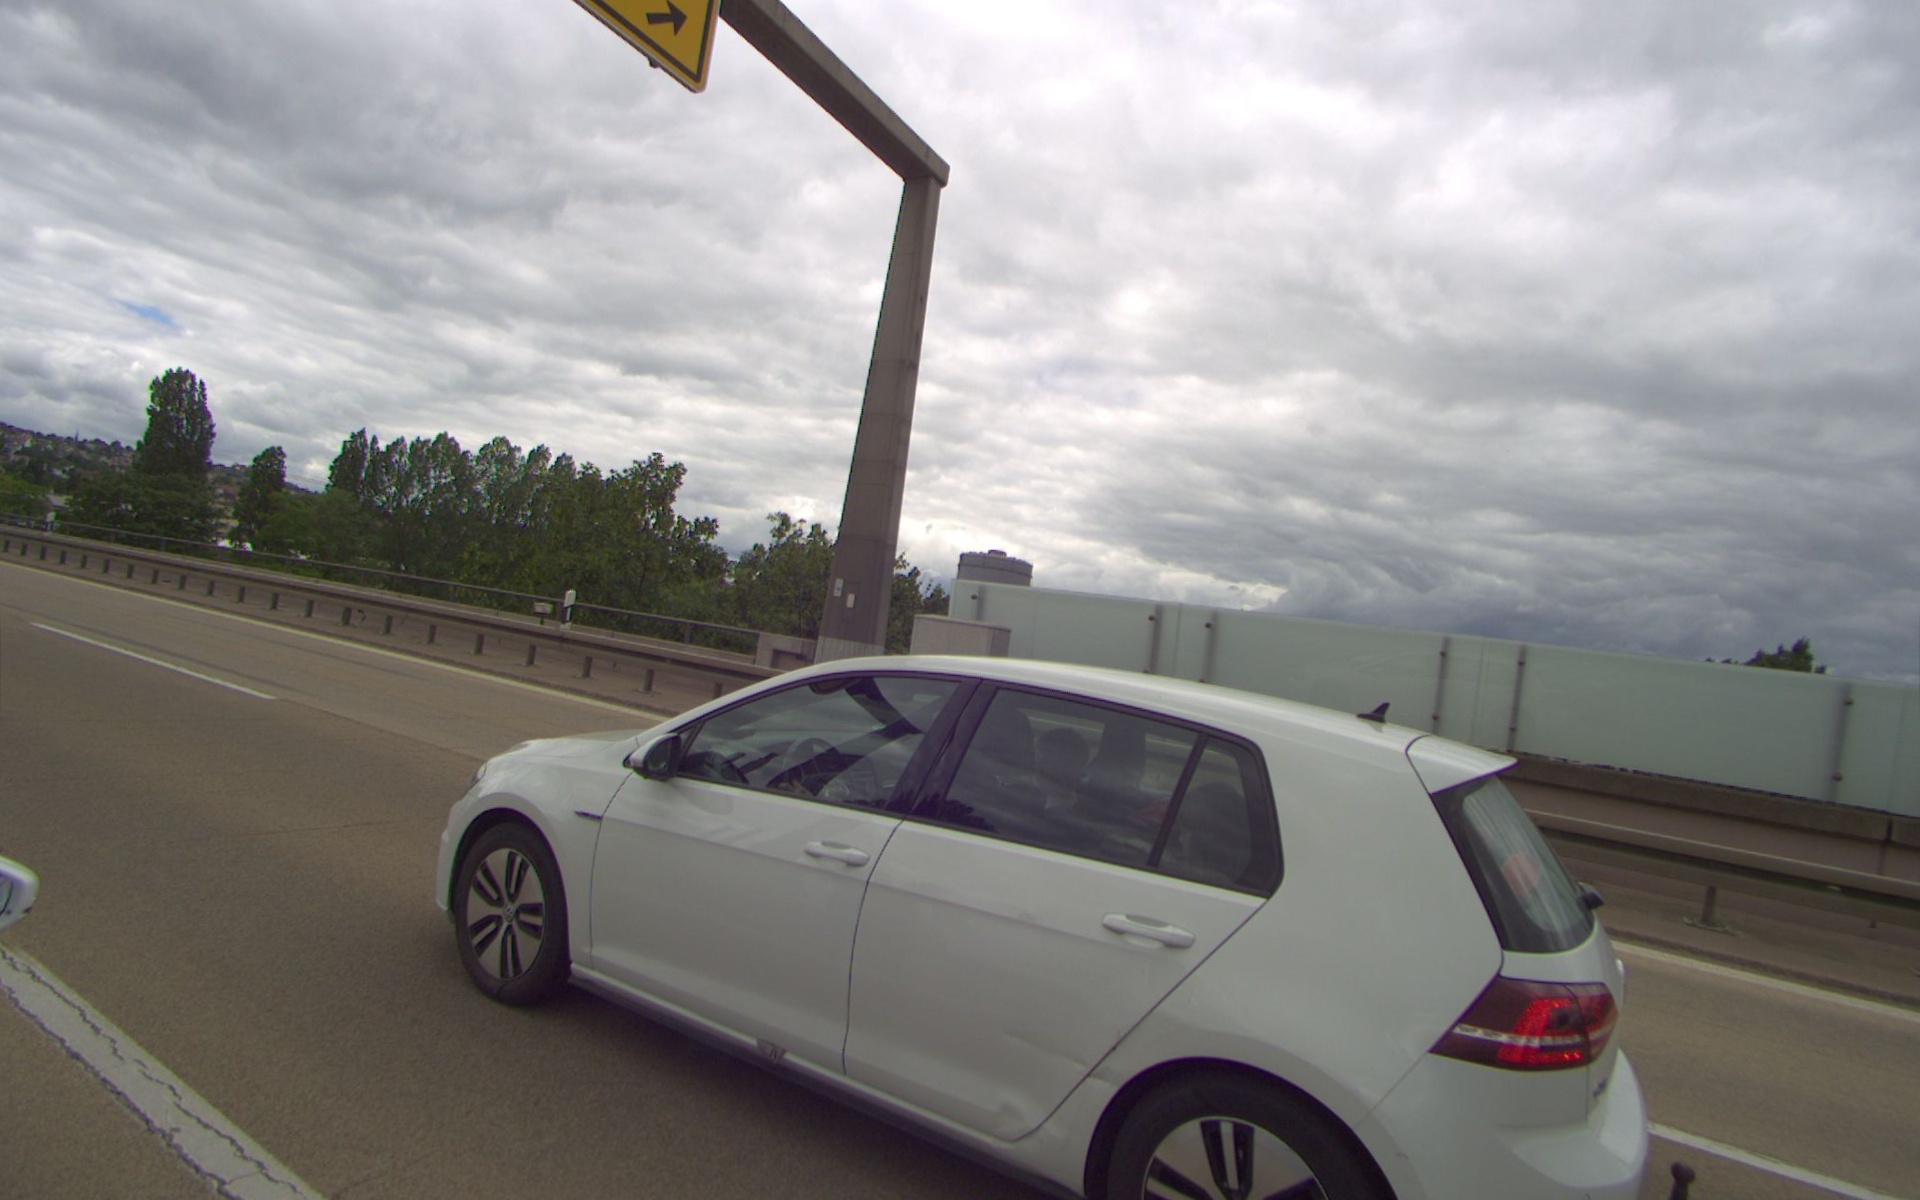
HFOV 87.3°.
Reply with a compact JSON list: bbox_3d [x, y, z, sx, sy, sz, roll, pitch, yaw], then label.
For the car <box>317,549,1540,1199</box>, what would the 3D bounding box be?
[{"bbox_3d":[-0.283,0.827,3.674,4.003,1.469,1.758,7,-1,30],"label":"car"}]
